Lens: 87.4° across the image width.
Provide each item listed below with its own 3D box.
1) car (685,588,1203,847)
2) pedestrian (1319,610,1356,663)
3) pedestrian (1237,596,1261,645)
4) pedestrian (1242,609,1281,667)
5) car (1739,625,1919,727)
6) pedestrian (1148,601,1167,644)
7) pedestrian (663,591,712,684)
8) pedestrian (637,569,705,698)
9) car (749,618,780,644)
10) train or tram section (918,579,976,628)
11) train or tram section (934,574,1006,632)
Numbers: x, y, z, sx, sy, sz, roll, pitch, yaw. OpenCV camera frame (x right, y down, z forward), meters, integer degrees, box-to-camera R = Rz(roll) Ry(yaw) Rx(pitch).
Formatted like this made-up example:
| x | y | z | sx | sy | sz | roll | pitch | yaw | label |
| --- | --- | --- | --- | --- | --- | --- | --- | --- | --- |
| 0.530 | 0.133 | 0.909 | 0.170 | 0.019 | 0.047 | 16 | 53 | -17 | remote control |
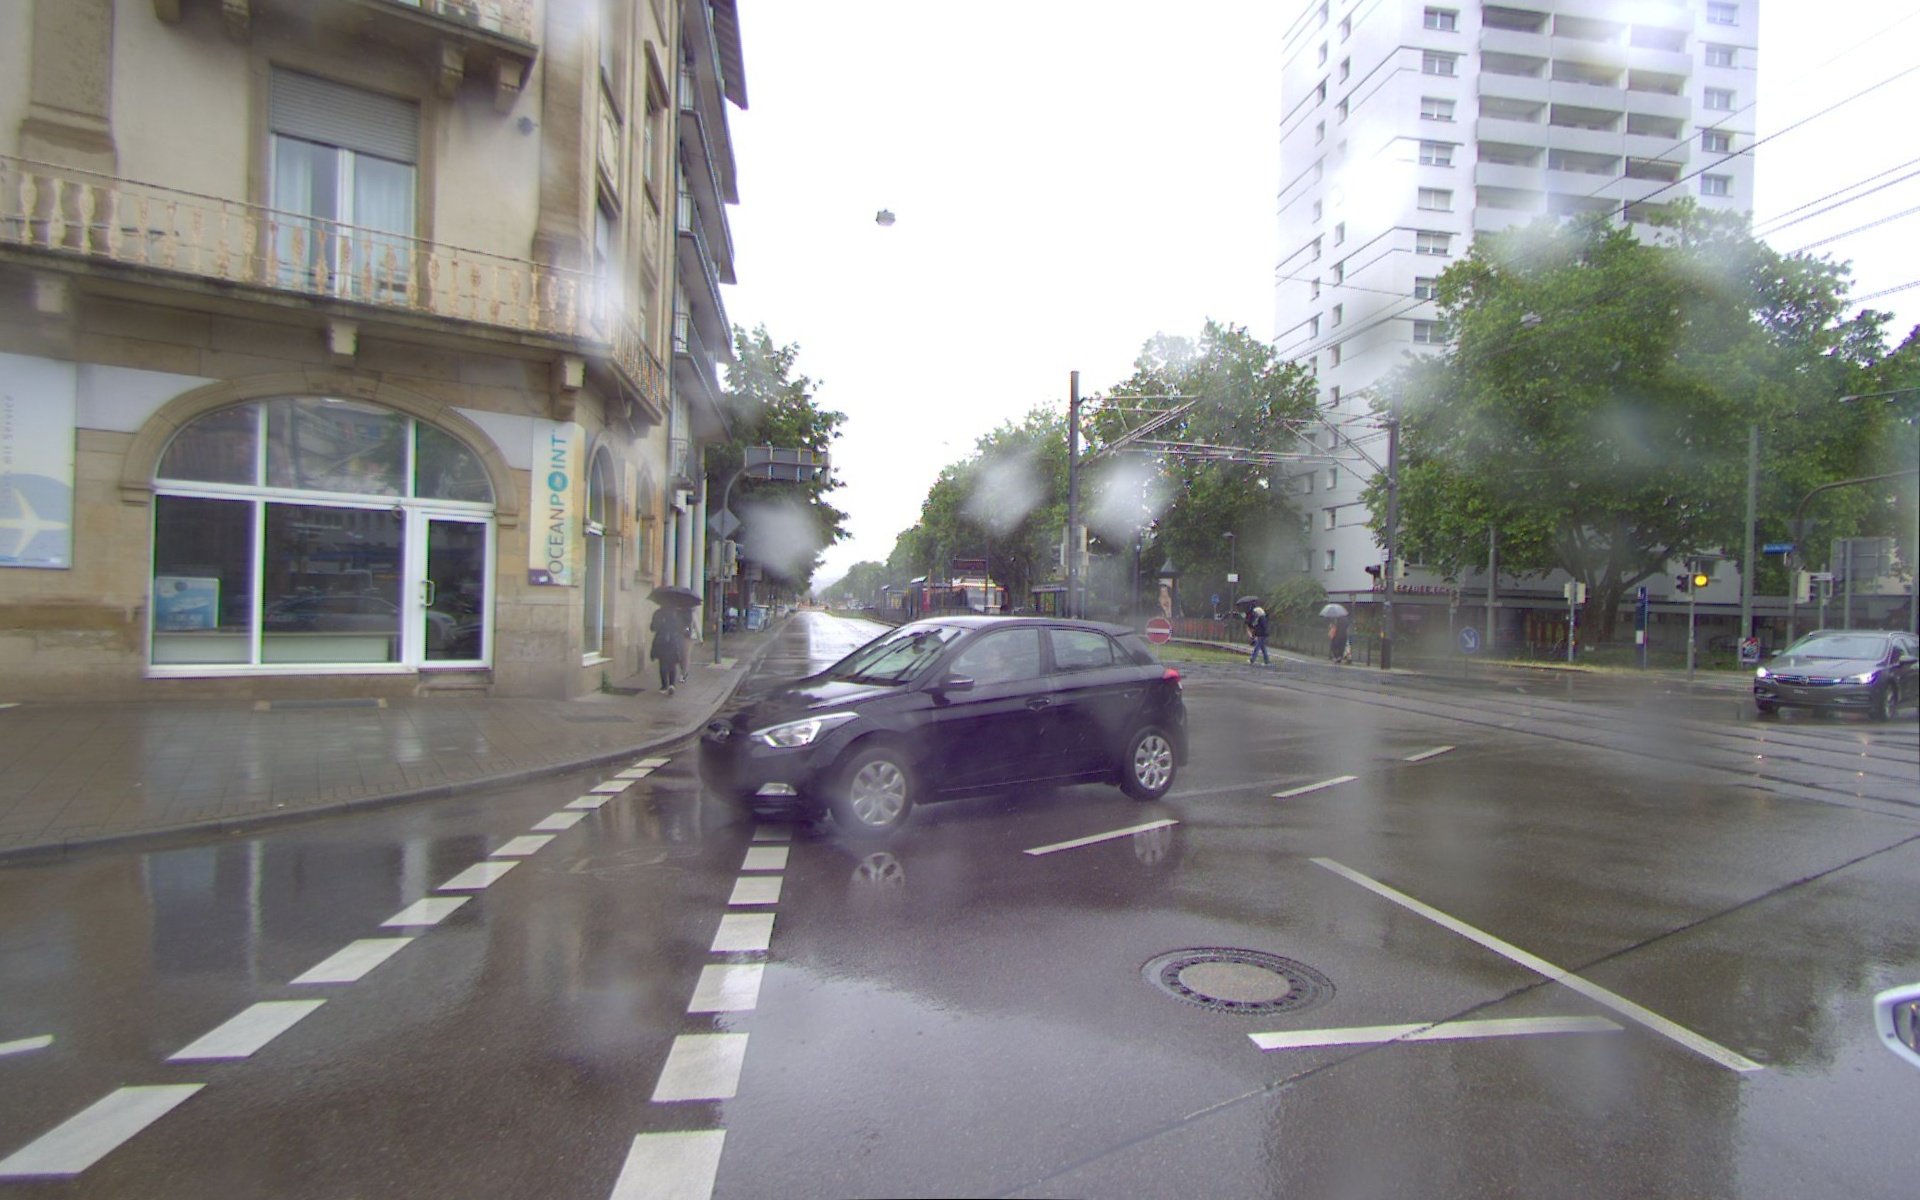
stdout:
| x | y | z | sx | sy | sz | roll | pitch | yaw | label |
| --- | --- | --- | --- | --- | --- | --- | --- | --- | --- |
| -0.038 | 0.782 | 7.878 | 3.739 | 1.567 | 1.733 | 2 | -2 | -34 | car |
| 12.112 | 1.167 | 32.235 | 0.780 | 1.670 | 0.815 | 1 | -1 | -10 | pedestrian |
| 11.048 | 0.787 | 38.364 | 0.628 | 1.863 | 0.678 | 1 | -1 | -10 | pedestrian |
| 8.754 | 1.096 | 29.165 | 0.744 | 1.670 | 0.835 | 1 | -1 | -17 | pedestrian |
| 15.612 | 1.274 | 17.691 | 4.295 | 1.567 | 1.716 | 2 | -1 | -34 | car |
| 9.799 | 1.132 | 49.903 | 0.626 | 2.105 | 0.700 | 1 | 0 | -14 | pedestrian |
| -5.175 | 0.709 | 19.122 | 0.728 | 1.680 | 0.742 | 5 | -1 | -13 | pedestrian |
| -4.699 | 0.547 | 16.365 | 0.906 | 1.991 | 0.698 | 5 | -1 | -15 | pedestrian |
| -12.023 | 1.902 | 61.910 | 1.793 | 1.439 | 3.993 | 2 | -1 | -10 | car |
| -1.200 | 0.310 | 80.483 | 3.016 | 3.550 | 11.560 | 2 | -1 | -8 | train or tram section |
| 0.495 | 0.235 | 69.001 | 3.016 | 3.550 | 11.560 | 2 | -1 | -8 | train or tram section |
